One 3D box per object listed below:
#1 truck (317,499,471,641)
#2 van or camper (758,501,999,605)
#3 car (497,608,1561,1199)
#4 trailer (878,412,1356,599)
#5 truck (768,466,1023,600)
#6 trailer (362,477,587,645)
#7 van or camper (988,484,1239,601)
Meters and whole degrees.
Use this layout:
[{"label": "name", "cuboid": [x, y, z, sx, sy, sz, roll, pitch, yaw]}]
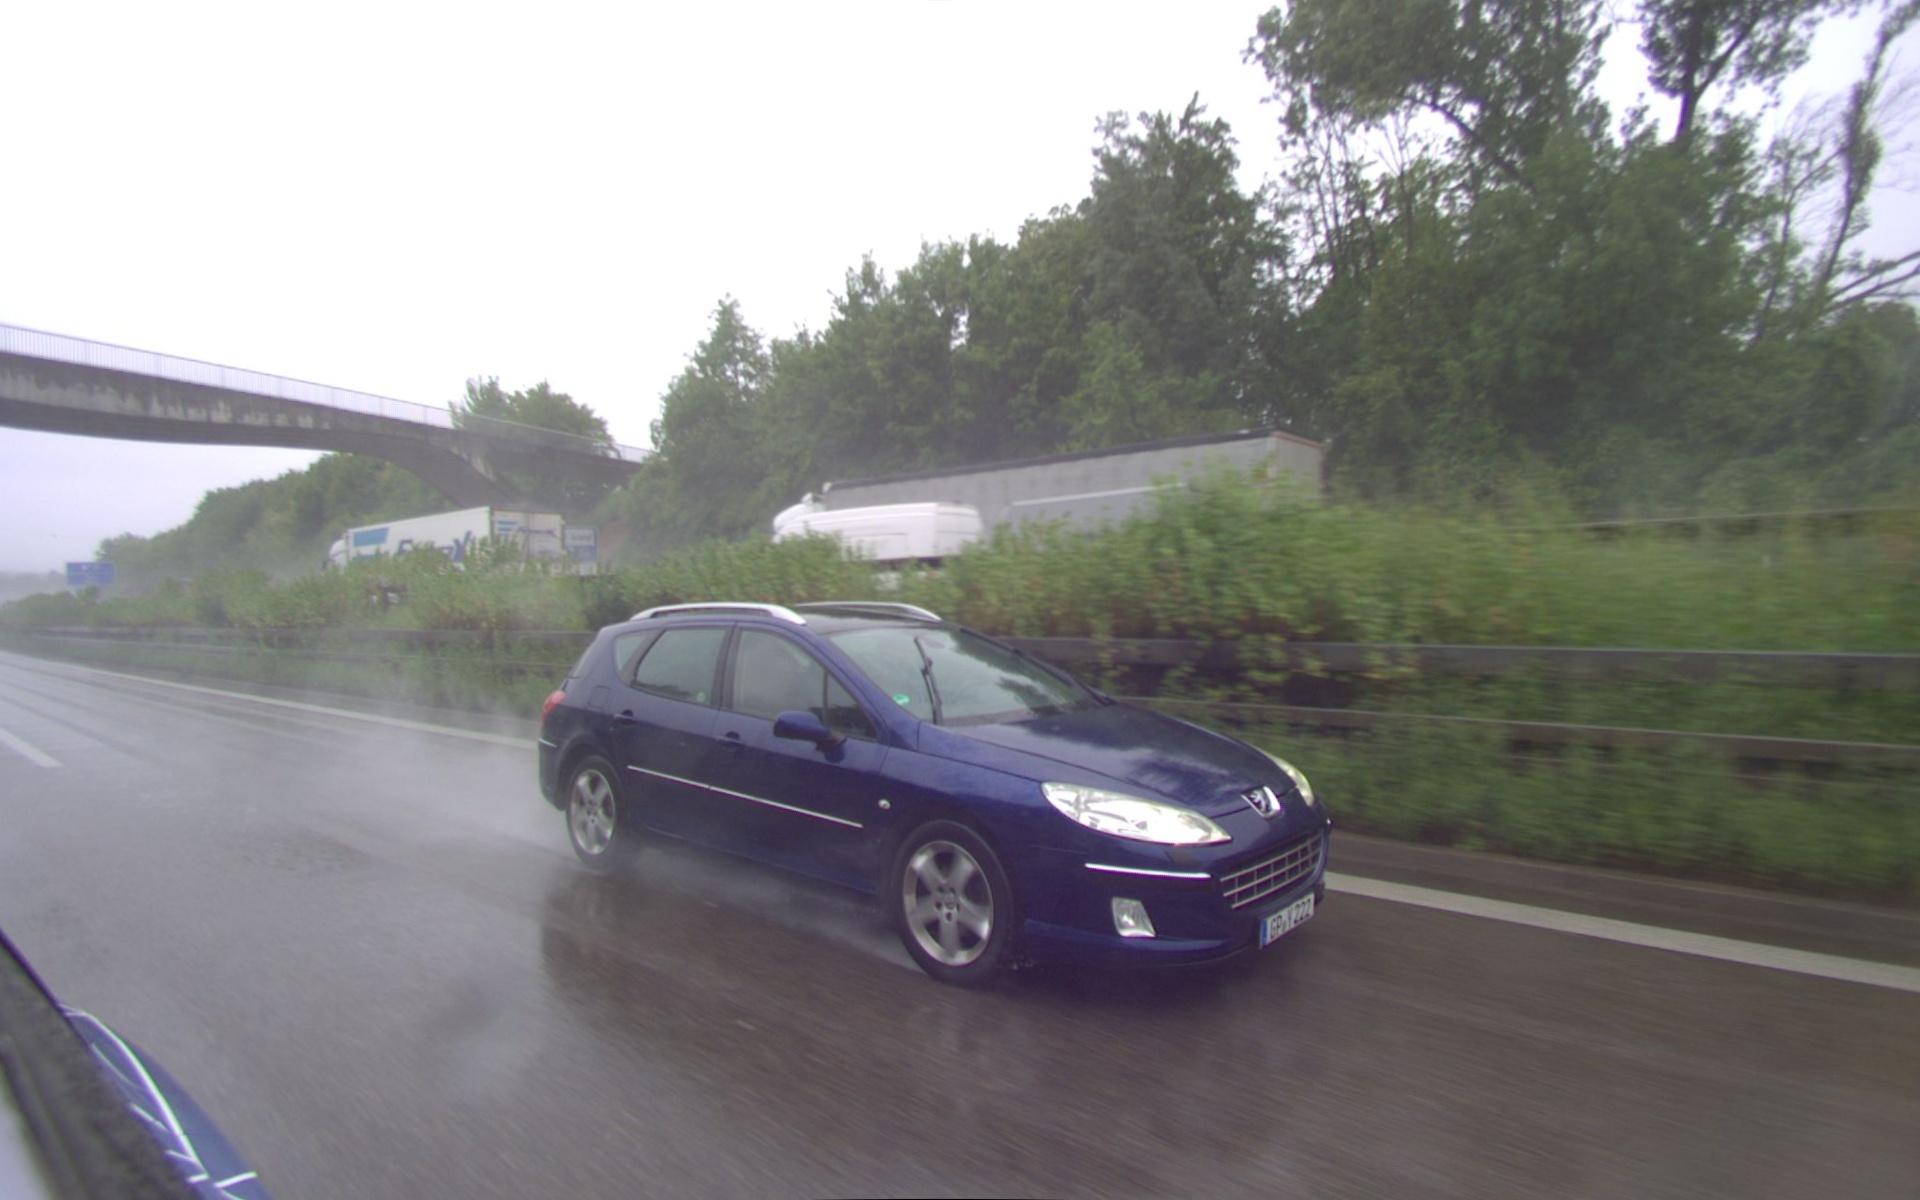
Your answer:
[{"label": "truck", "cuboid": [-24.248, -1.097, 43.171, 7.711, 5.500, 3.397, -1, -1, 41]}, {"label": "van or camper", "cuboid": [-2.014, -0.932, 23.175, 5.892, 2.029, 1.964, -1, -1, 42]}, {"label": "car", "cuboid": [-0.146, 0.815, 5.071, 5.155, 1.496, 2.033, -1, 0, 41]}, {"label": "trailer", "cuboid": [3.231, -1.841, 24.738, 11.541, 3.410, 3.392, -1, -1, 41]}, {"label": "truck", "cuboid": [-2.017, -1.711, 29.383, 7.170, 3.294, 3.301, -1, -1, 41]}, {"label": "trailer", "cuboid": [-18.657, -1.243, 38.283, 11.541, 5.499, 3.392, -1, 0, 41]}, {"label": "van or camper", "cuboid": [2.737, -0.952, 18.800, 4.502, 1.864, 1.483, -1, -1, 41]}]
